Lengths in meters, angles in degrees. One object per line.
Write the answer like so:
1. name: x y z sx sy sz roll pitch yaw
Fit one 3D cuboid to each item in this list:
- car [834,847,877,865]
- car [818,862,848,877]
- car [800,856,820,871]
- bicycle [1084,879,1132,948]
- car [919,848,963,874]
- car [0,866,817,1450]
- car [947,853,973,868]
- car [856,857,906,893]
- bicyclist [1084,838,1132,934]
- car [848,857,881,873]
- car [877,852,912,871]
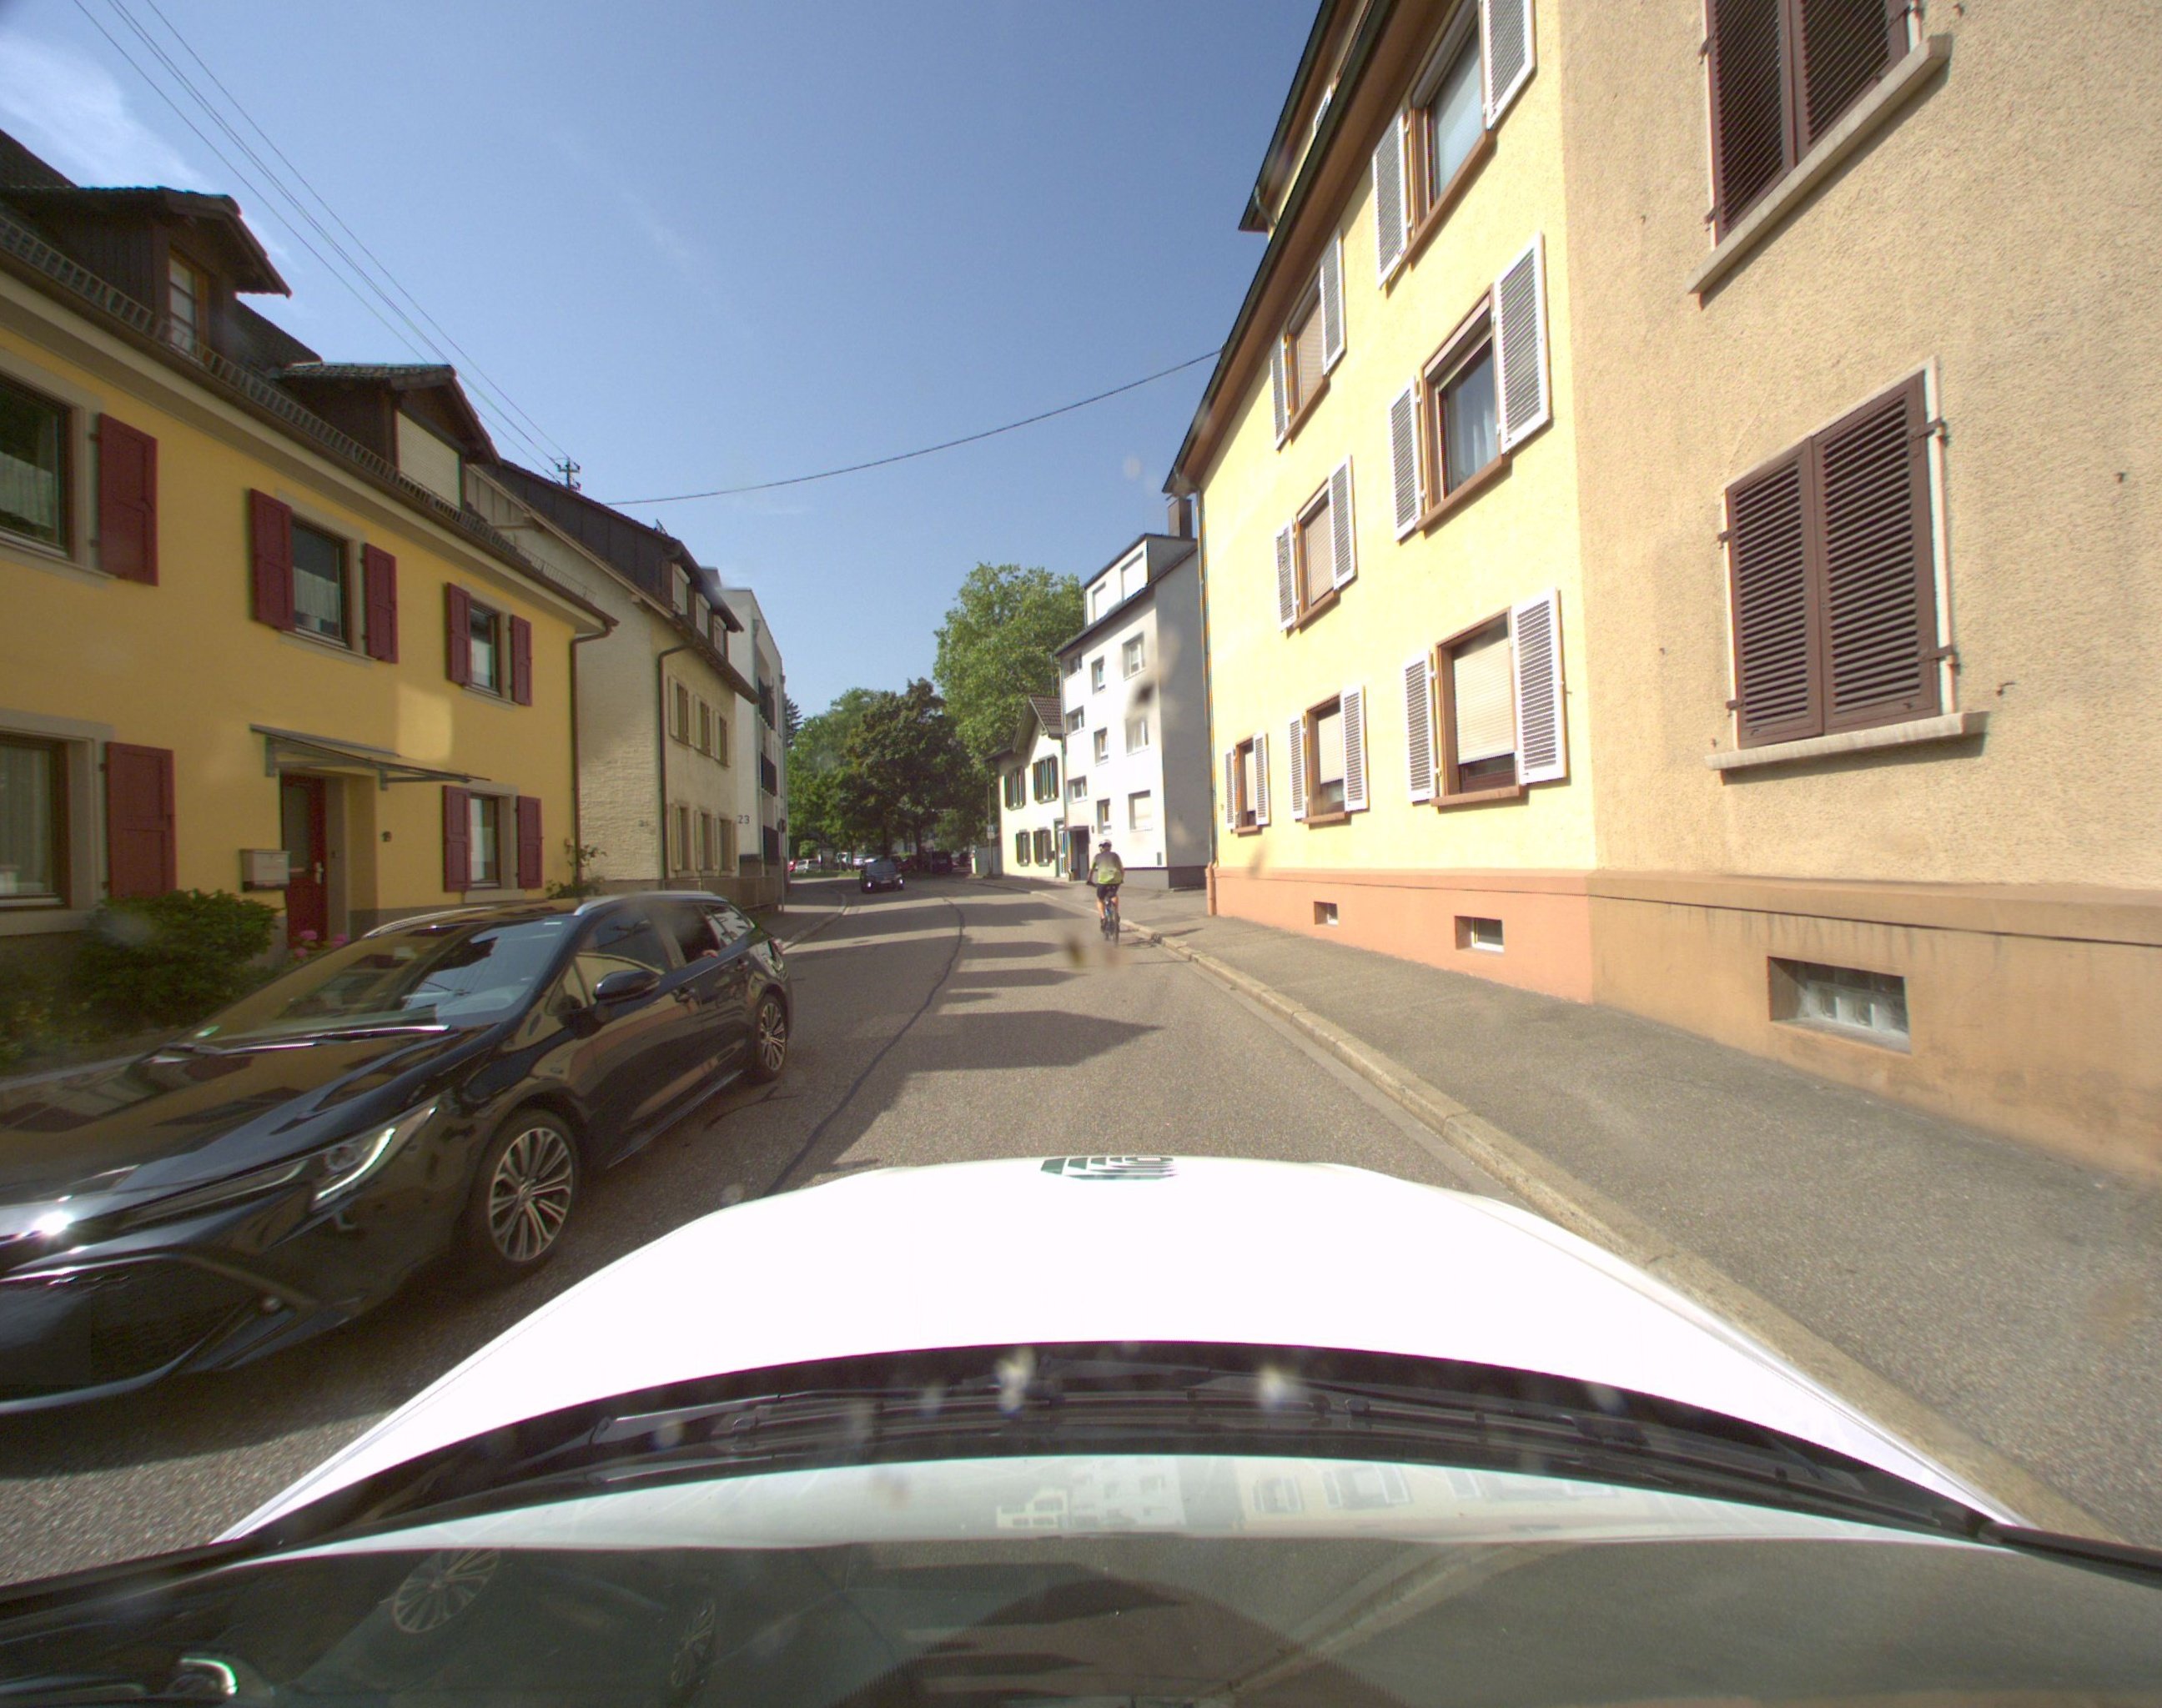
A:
1. car: -26.097 0.197 94.455 1.975 1.855 4.729 -2 0 28
2. car: -25.454 1.569 83.551 1.687 1.468 3.369 -2 0 -42
3. car: -29.182 1.018 87.590 1.751 1.552 3.726 -2 0 -22
4. bicycle: 0.432 0.967 13.714 0.697 1.035 1.470 -1 0 -2
5. car: -10.555 0.498 61.099 1.835 1.790 3.960 -3 2 -32
6. car: -2.942 0.906 4.397 1.655 1.449 4.255 -5 0 -2
7. car: -11.136 0.594 74.762 1.587 1.257 3.833 -3 1 -19
8. car: -9.948 1.026 40.339 1.831 1.537 3.972 -6 1 -21
9. bicyclist: 0.447 0.526 13.673 0.684 1.531 0.715 -3 -1 -3
10. car: -24.083 1.197 90.842 1.796 1.552 4.015 -2 0 14
11. car: -16.409 0.609 71.490 1.720 1.542 3.960 -3 2 -32
